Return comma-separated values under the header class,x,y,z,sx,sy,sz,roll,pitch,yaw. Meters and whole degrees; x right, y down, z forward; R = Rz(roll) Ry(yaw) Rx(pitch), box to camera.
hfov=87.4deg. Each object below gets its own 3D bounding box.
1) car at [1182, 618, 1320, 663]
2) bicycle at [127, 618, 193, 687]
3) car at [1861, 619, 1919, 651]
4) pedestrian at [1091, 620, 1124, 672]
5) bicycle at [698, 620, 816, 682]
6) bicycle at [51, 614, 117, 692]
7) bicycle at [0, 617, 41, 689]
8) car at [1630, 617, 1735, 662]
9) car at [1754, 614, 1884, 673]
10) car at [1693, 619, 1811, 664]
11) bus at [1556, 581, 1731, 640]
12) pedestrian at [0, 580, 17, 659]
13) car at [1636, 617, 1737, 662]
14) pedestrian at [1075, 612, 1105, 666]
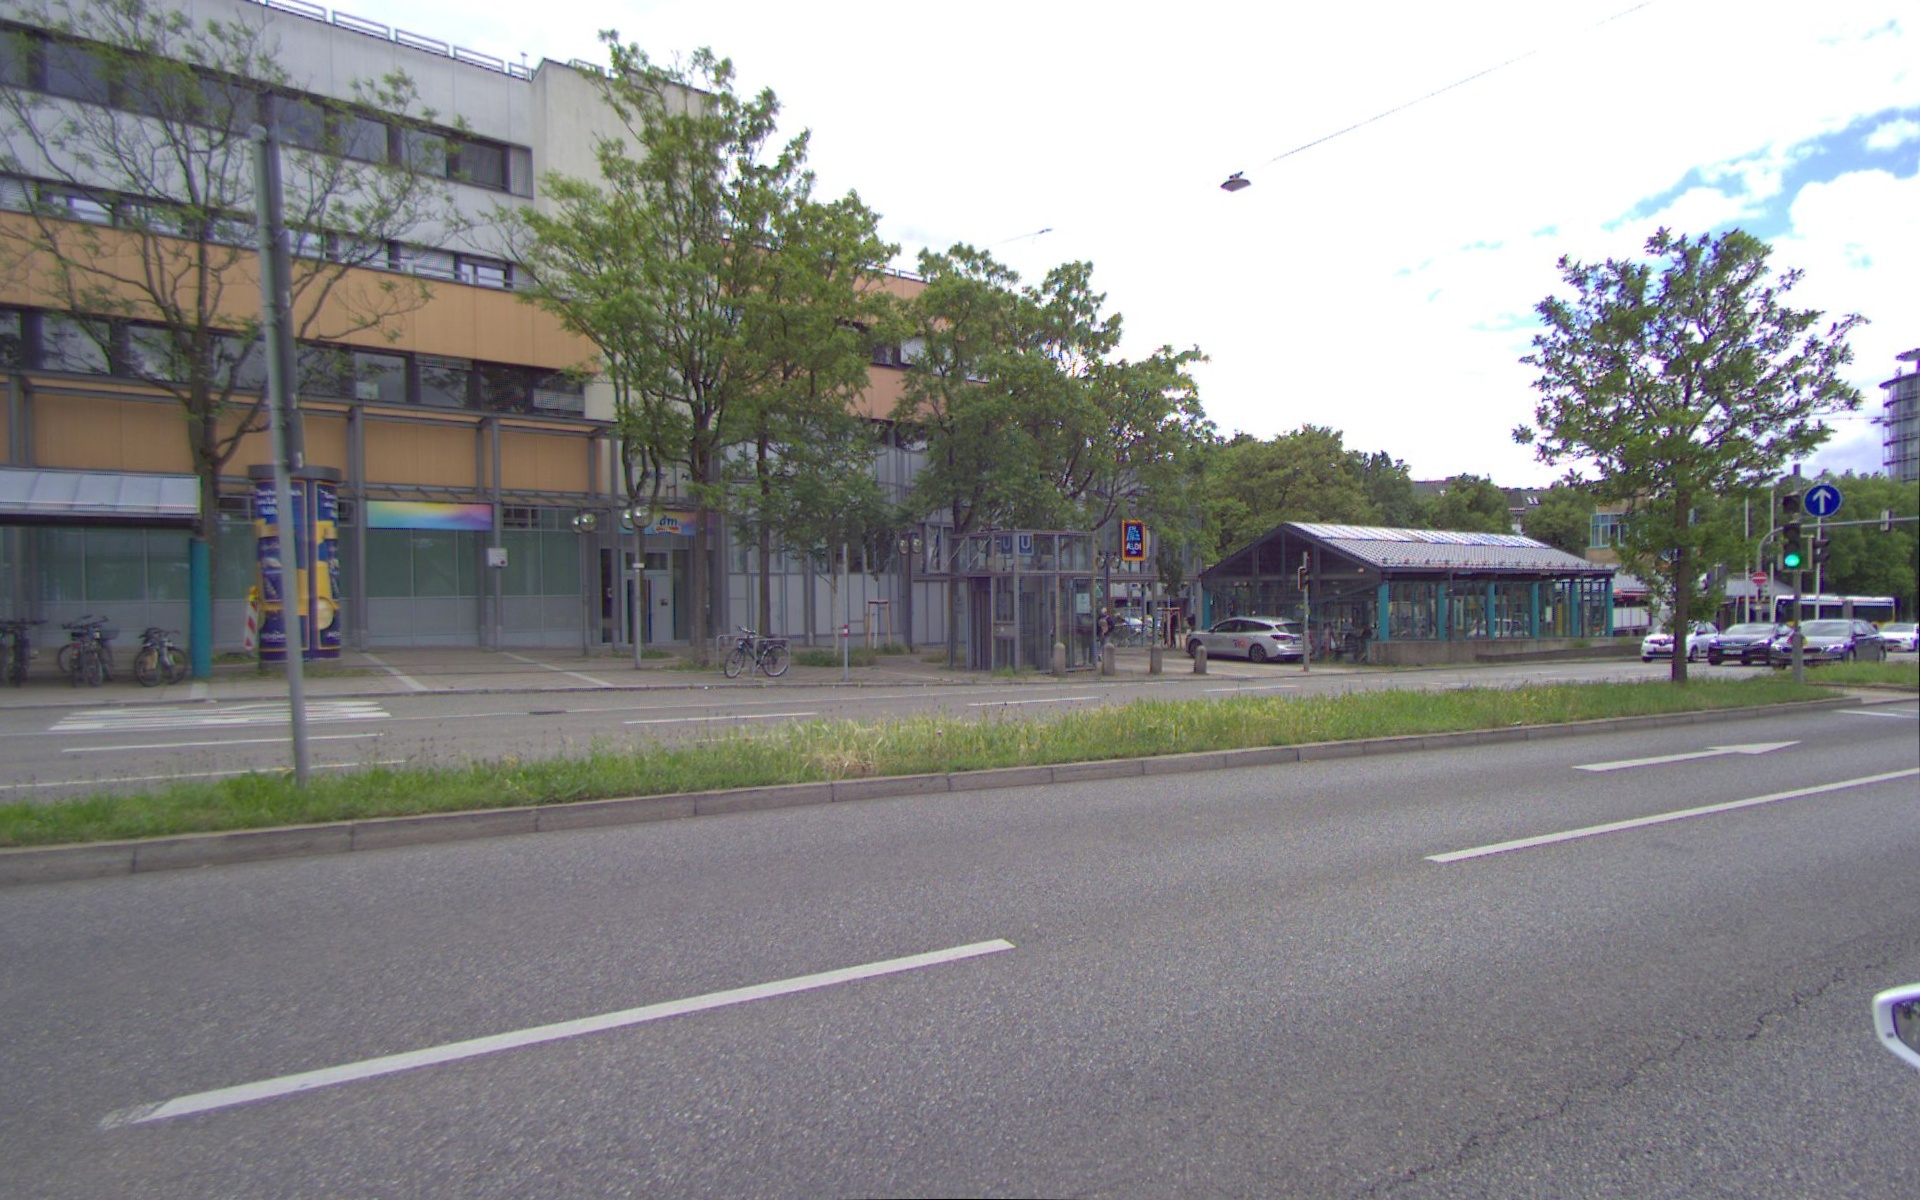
class,x,y,z,sx,sy,sz,roll,pitch,yaw
car,9.582,1.298,33.241,1.985,1.372,3.951,1,-1,-42
bicycle,-14.813,0.941,18.583,2.043,1.169,0.707,1,0,44
car,48.605,1.782,52.090,4.458,1.595,1.722,1,-1,-33
pedestrian,4.282,1.324,29.210,0.593,1.477,0.867,2,1,35
bicycle,-4.590,1.115,22.759,2.400,1.288,1.045,1,1,-35
bicycle,-15.544,0.906,17.805,2.043,1.169,0.707,5,3,44
bicycle,-16.299,0.875,17.204,2.043,1.169,0.707,0,-1,44
car,26.959,1.430,37.450,3.954,1.538,1.739,1,1,-31
car,24.918,1.210,29.100,4.474,1.595,1.979,1,-1,-37
car,26.898,1.382,34.070,4.961,1.416,1.802,1,-2,-35
bus,40.054,0.664,58.689,12.000,3.175,2.947,1,0,-26
pedestrian,-20.608,0.410,21.374,0.667,1.665,0.529,0,-1,-30
car,27.108,1.437,37.453,3.953,1.595,1.616,1,-1,-30
pedestrian,3.699,1.099,28.533,0.592,1.477,0.869,2,1,25
